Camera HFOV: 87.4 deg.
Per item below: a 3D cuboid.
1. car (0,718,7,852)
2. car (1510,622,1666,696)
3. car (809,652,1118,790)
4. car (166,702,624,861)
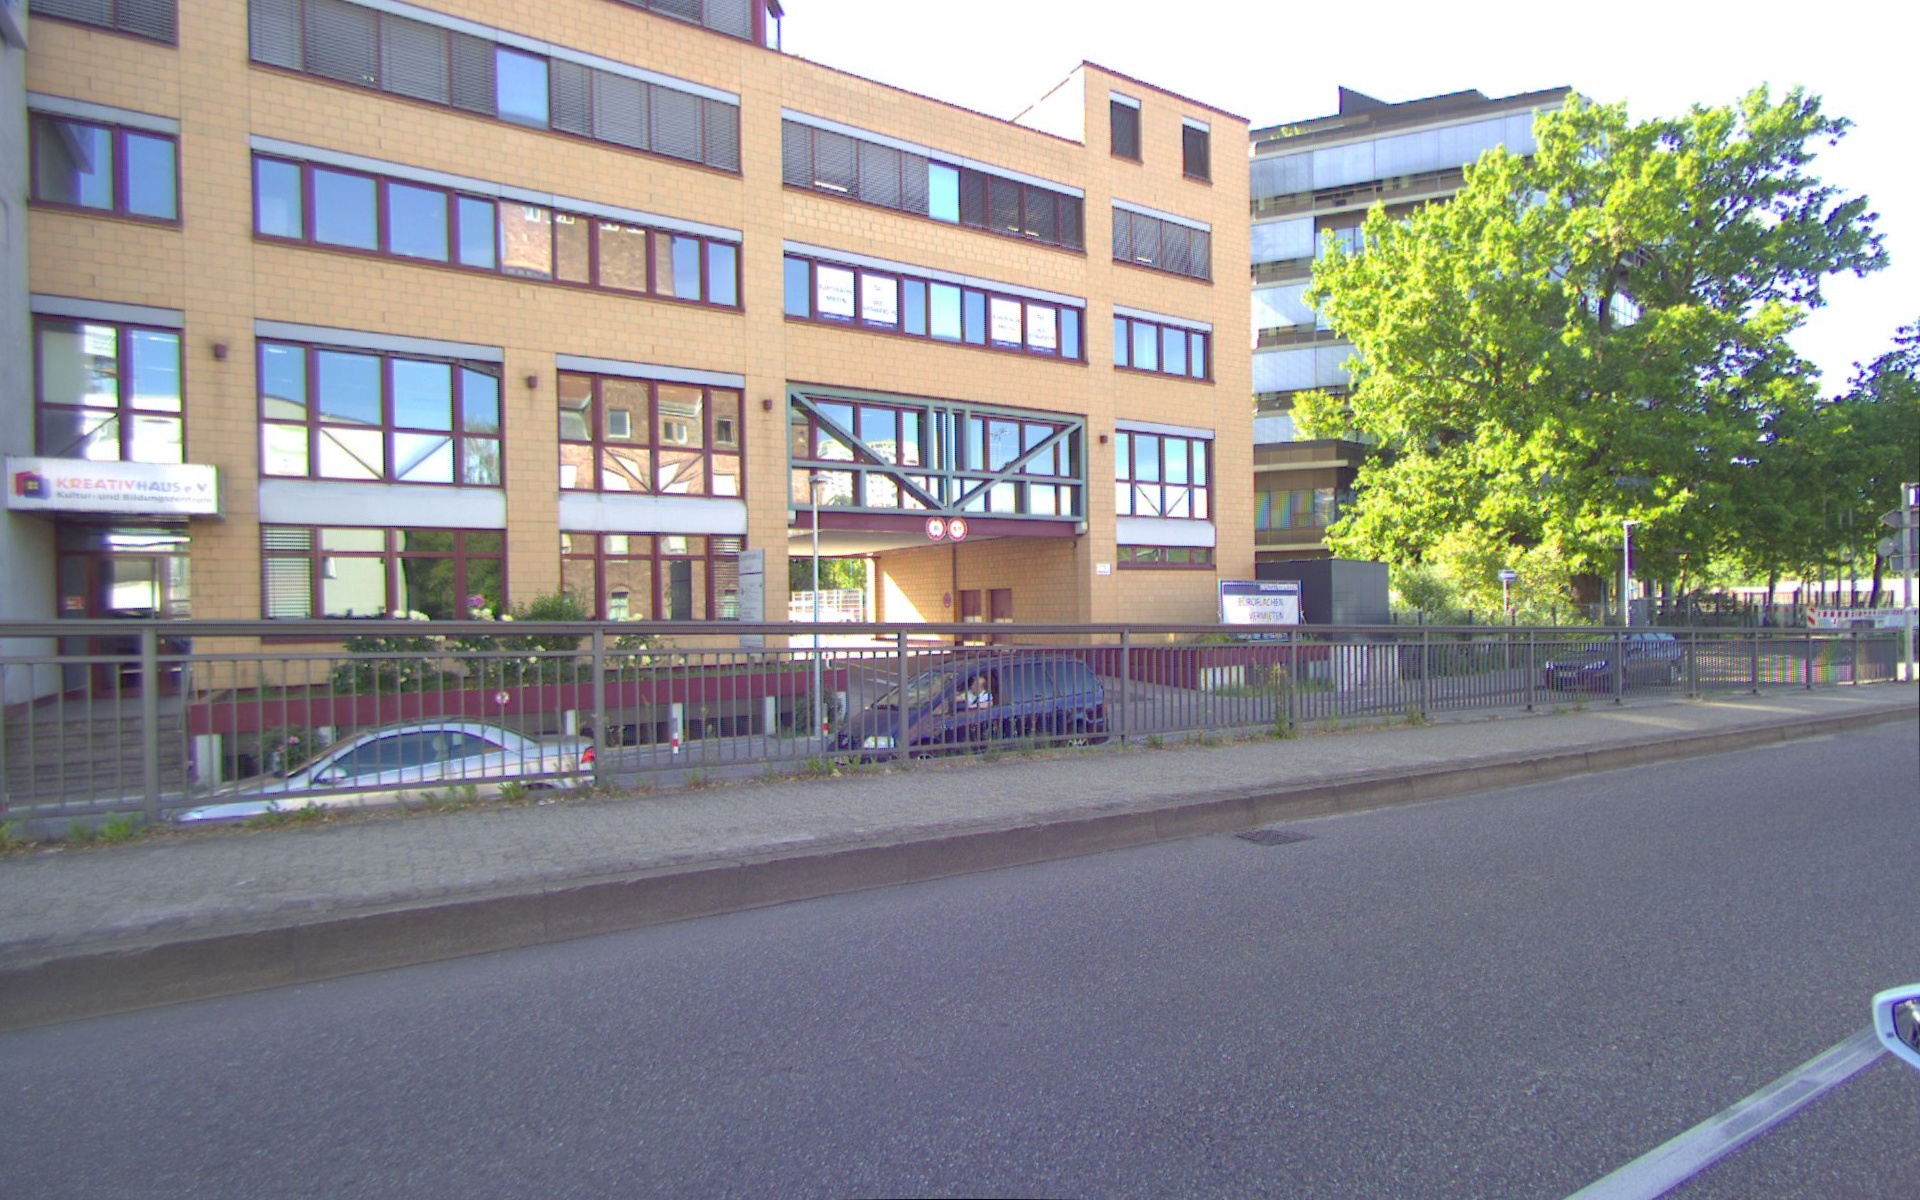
[{"bbox_3d":[-10.644,1.783,8.282,3.766,1.286,1.567,0,-2,-32],"label":"car"},{"bbox_3d":[16.437,1.467,26.273,3.953,1.715,1.843,-1,0,-30],"label":"car"},{"bbox_3d":[0.145,1.697,15.204,4.541,1.669,1.710,0,-2,-36],"label":"car"},{"bbox_3d":[-6.132,1.899,11.307,4.210,1.181,1.713,0,-2,-32],"label":"car"}]
